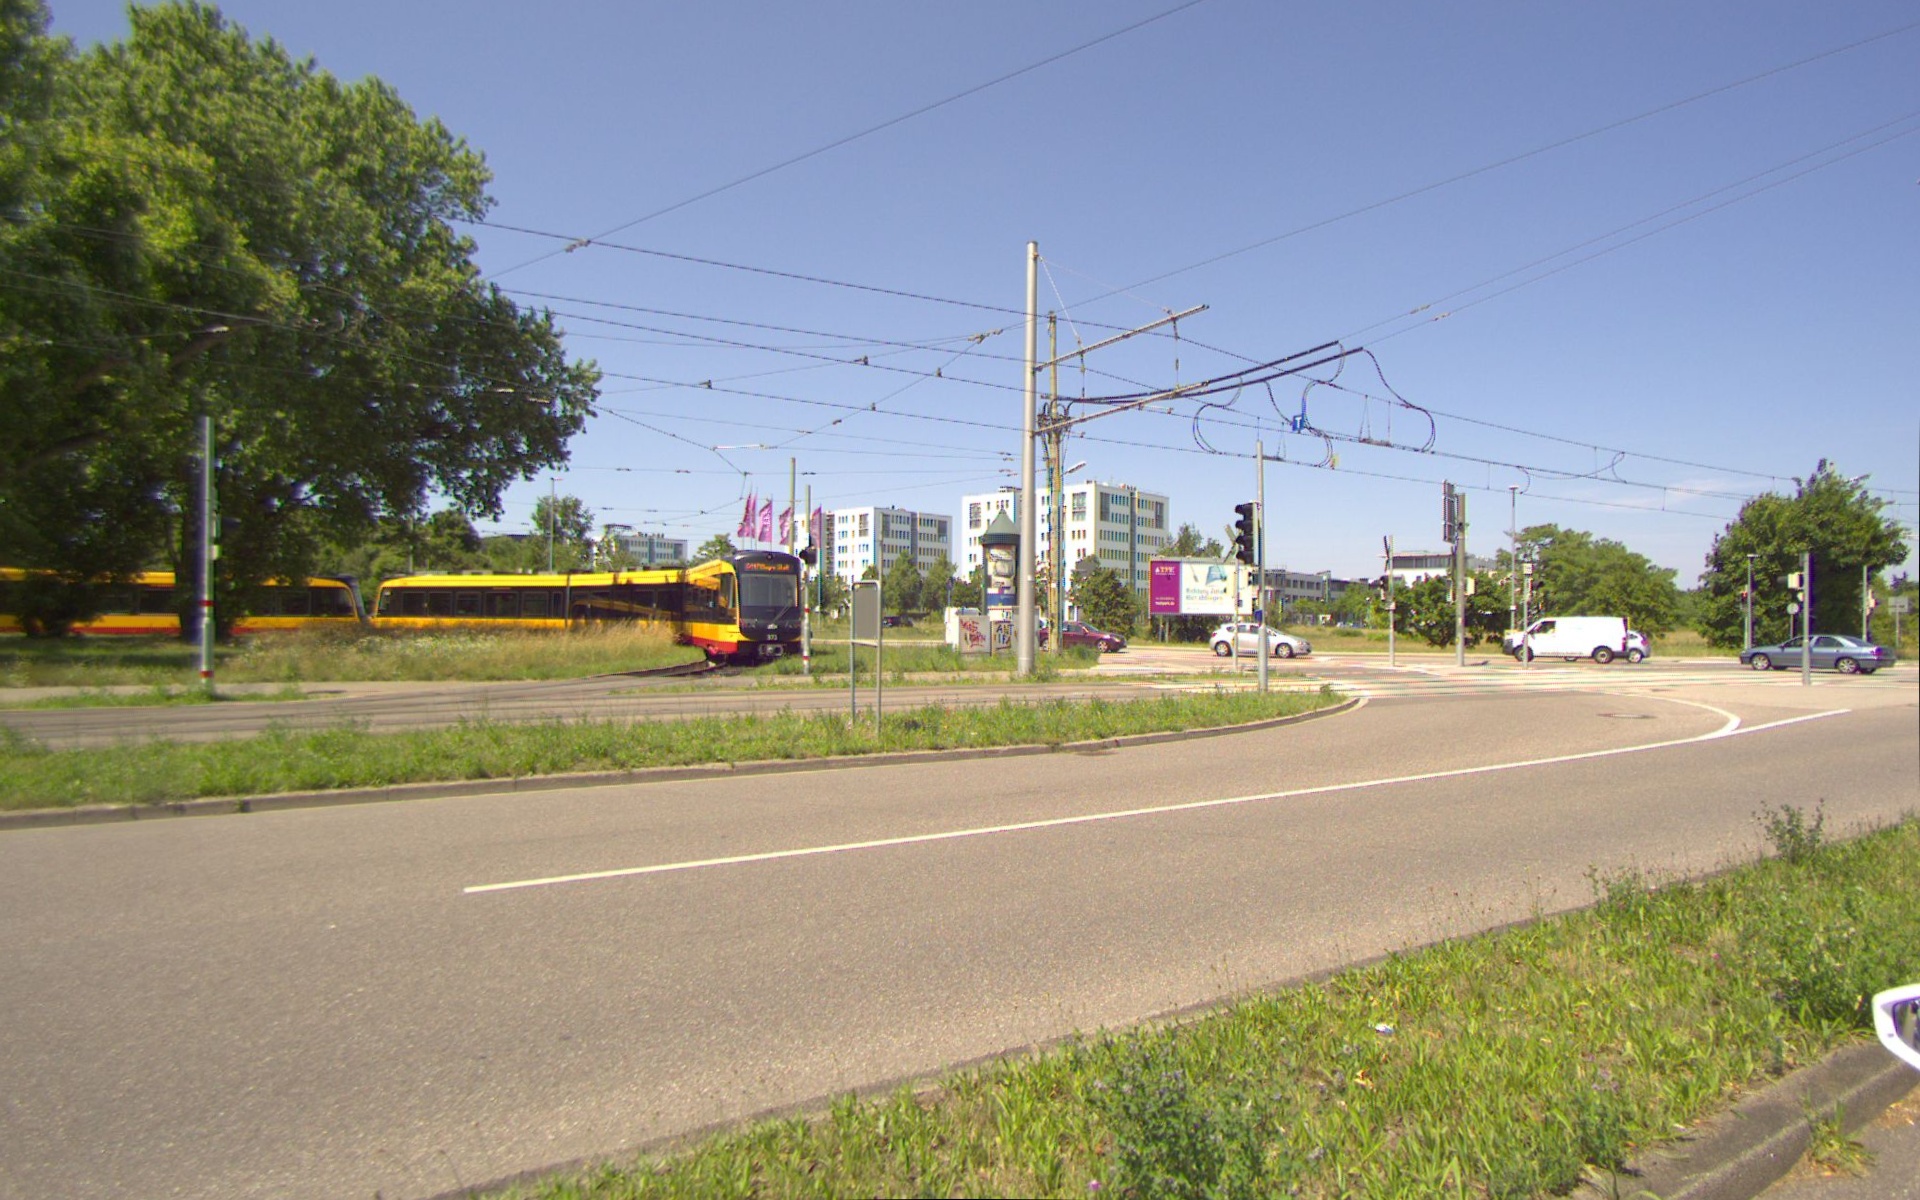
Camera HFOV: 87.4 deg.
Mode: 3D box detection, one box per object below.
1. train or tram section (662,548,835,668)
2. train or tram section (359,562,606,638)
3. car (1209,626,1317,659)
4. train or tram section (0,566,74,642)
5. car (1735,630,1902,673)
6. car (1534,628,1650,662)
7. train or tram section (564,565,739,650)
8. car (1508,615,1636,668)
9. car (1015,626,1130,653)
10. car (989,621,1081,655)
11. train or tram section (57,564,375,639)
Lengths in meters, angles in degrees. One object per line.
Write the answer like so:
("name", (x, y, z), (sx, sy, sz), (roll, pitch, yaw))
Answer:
("train or tram section", (-8.025, 0.166, 35.898), (3.006, 3.512, 13.204), (1, 0, -26))
("train or tram section", (-24.559, -0.072, 51.598), (12.494, 3.512, 3.047), (1, 1, 16))
("car", (13.294, 1.839, 44.107), (4.204, 1.311, 1.996), (0, 0, 30))
("train or tram section", (-47.147, 0.134, 45.641), (3.005, 3.512, 10.158), (2, 1, 45))
("car", (32.032, 1.883, 37.637), (1.874, 1.390, 4.398), (0, 0, -27))
("car", (29.197, 2.045, 46.478), (4.362, 1.390, 1.890), (0, 0, 39))
("train or tram section", (-14.344, 0.210, 46.004), (10.079, 3.512, 3.029), (2, 1, 43))
("car", (26.617, 1.758, 43.727), (4.668, 2.139, 1.994), (0, 0, 35))
("car", (5.344, 1.864, 47.676), (5.135, 1.147, 1.899), (0, 0, 19))
("car", (3.958, 1.989, 53.156), (4.456, 1.660, 1.997), (0, 0, 29))
("train or tram section", (-37.305, 0.142, 51.178), (12.573, 3.512, 3.028), (1, 1, -24))
